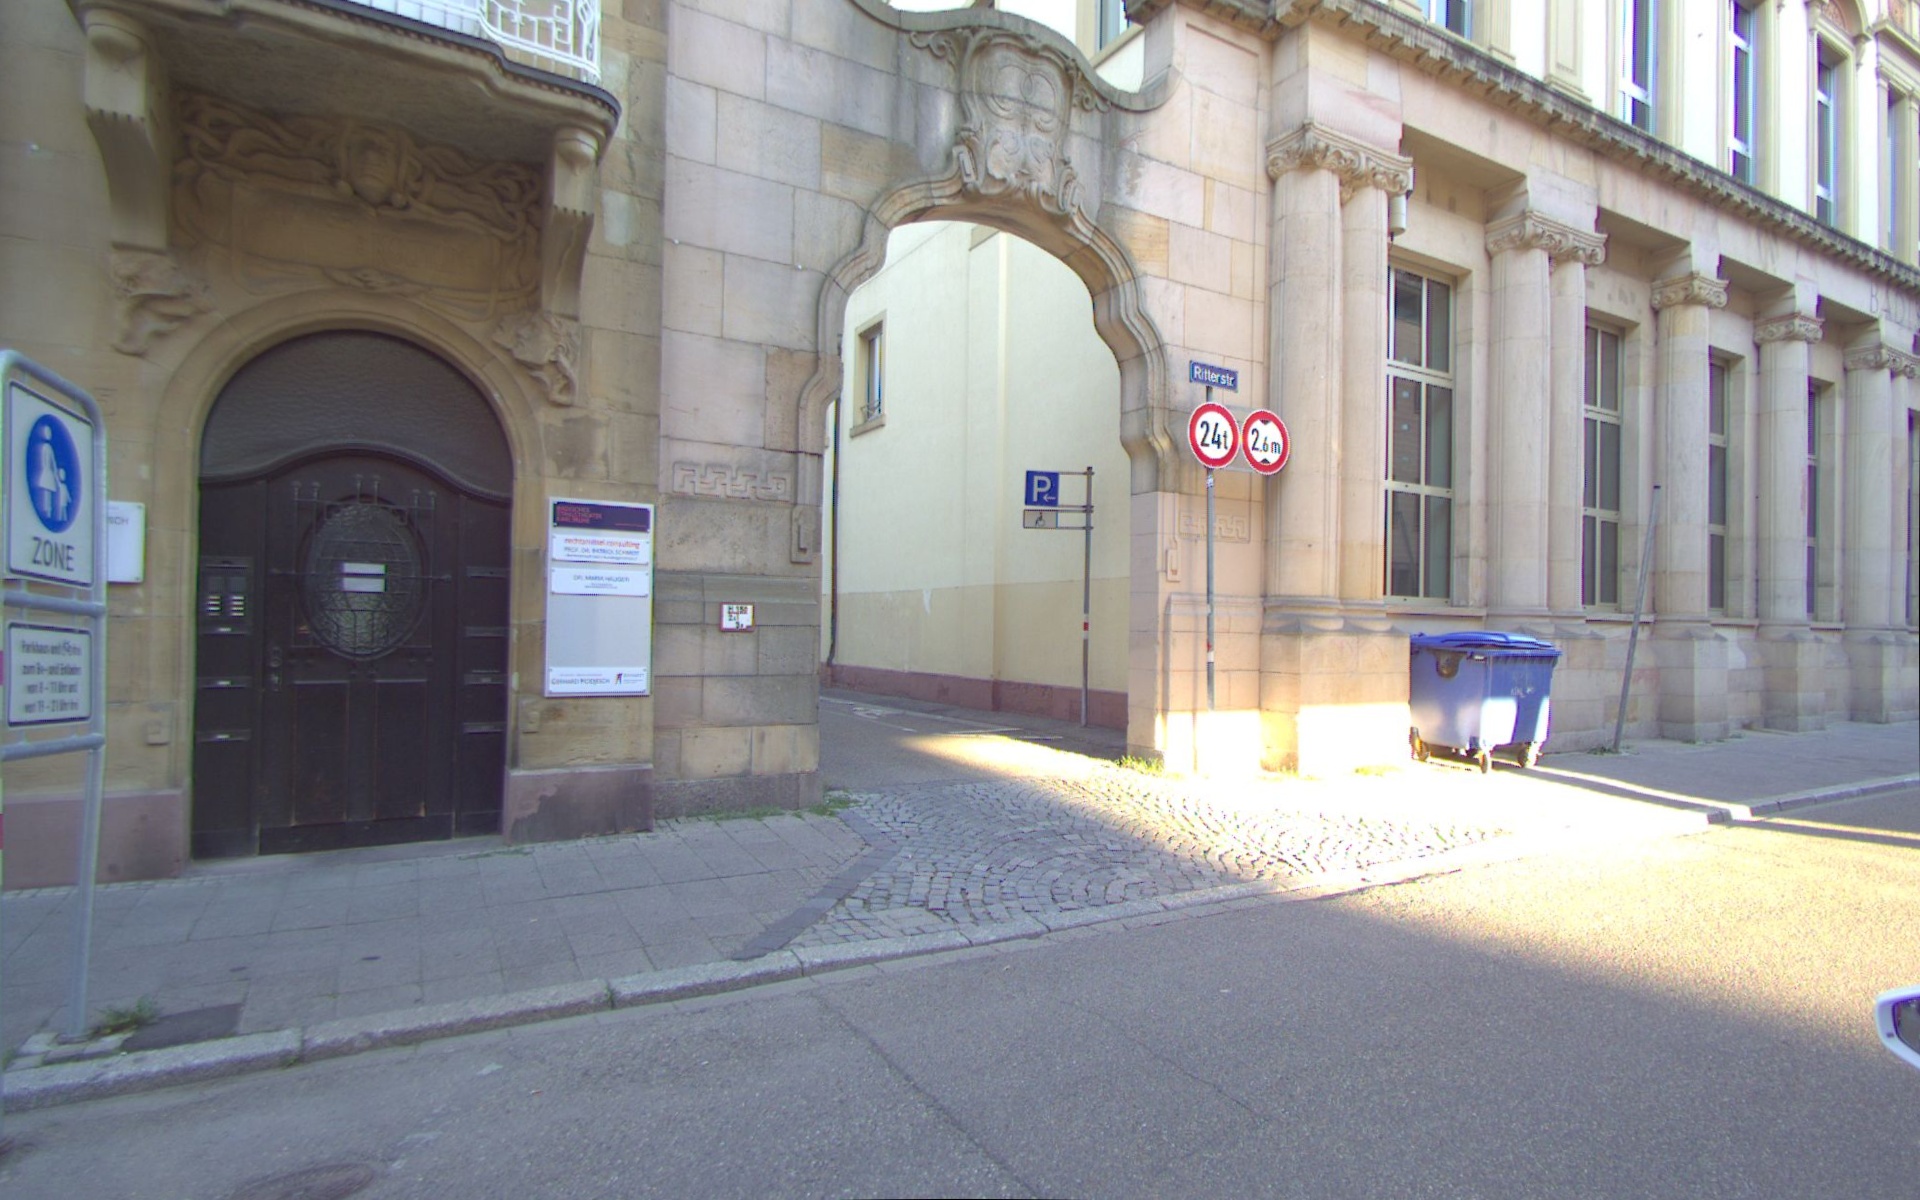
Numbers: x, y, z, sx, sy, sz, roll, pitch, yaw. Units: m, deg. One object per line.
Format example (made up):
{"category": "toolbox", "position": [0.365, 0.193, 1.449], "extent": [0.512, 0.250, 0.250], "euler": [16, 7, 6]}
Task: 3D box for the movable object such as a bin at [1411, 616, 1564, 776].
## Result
{"category": "movable object such as a bin", "position": [5.411, 0.936, 10.304], "extent": [1.275, 1.523, 0.825], "euler": [1, -1, -29]}
